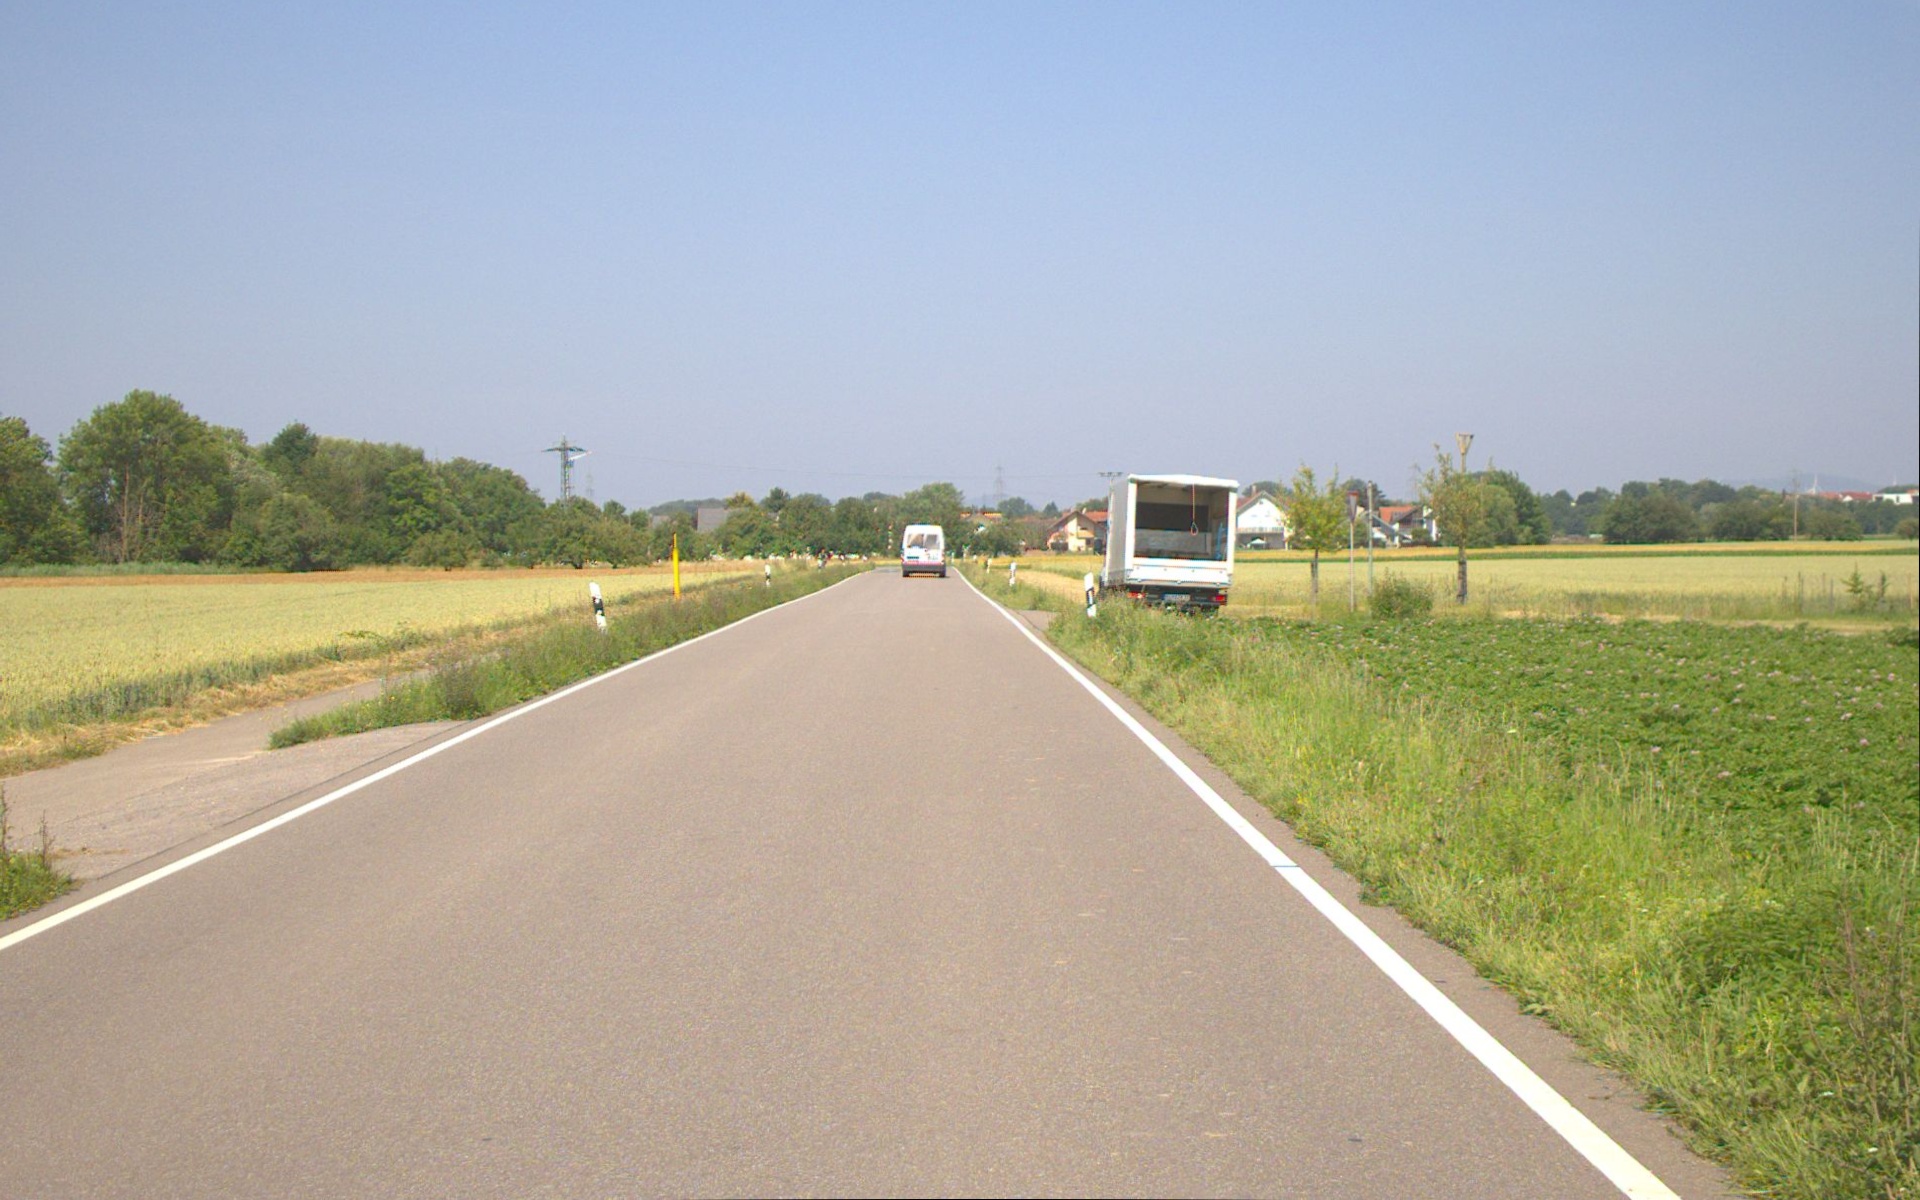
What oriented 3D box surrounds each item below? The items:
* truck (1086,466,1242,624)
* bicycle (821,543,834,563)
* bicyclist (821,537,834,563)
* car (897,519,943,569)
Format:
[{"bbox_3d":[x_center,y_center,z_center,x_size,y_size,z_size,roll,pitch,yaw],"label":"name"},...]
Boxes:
[{"bbox_3d":[4.063,-1.112,69.725,2.335,2.932,7.009,3,1,-2],"label":"truck"},{"bbox_3d":[-8.673,-3.072,225.442,0.759,1.231,2.394,-2,1,0],"label":"bicycle"},{"bbox_3d":[-8.679,-3.297,225.466,0.760,1.667,1.088,-2,1,0],"label":"bicyclist"},{"bbox_3d":[-1.911,-2.671,164.425,2.107,2.296,5.496,1,1,-1],"label":"car"}]
